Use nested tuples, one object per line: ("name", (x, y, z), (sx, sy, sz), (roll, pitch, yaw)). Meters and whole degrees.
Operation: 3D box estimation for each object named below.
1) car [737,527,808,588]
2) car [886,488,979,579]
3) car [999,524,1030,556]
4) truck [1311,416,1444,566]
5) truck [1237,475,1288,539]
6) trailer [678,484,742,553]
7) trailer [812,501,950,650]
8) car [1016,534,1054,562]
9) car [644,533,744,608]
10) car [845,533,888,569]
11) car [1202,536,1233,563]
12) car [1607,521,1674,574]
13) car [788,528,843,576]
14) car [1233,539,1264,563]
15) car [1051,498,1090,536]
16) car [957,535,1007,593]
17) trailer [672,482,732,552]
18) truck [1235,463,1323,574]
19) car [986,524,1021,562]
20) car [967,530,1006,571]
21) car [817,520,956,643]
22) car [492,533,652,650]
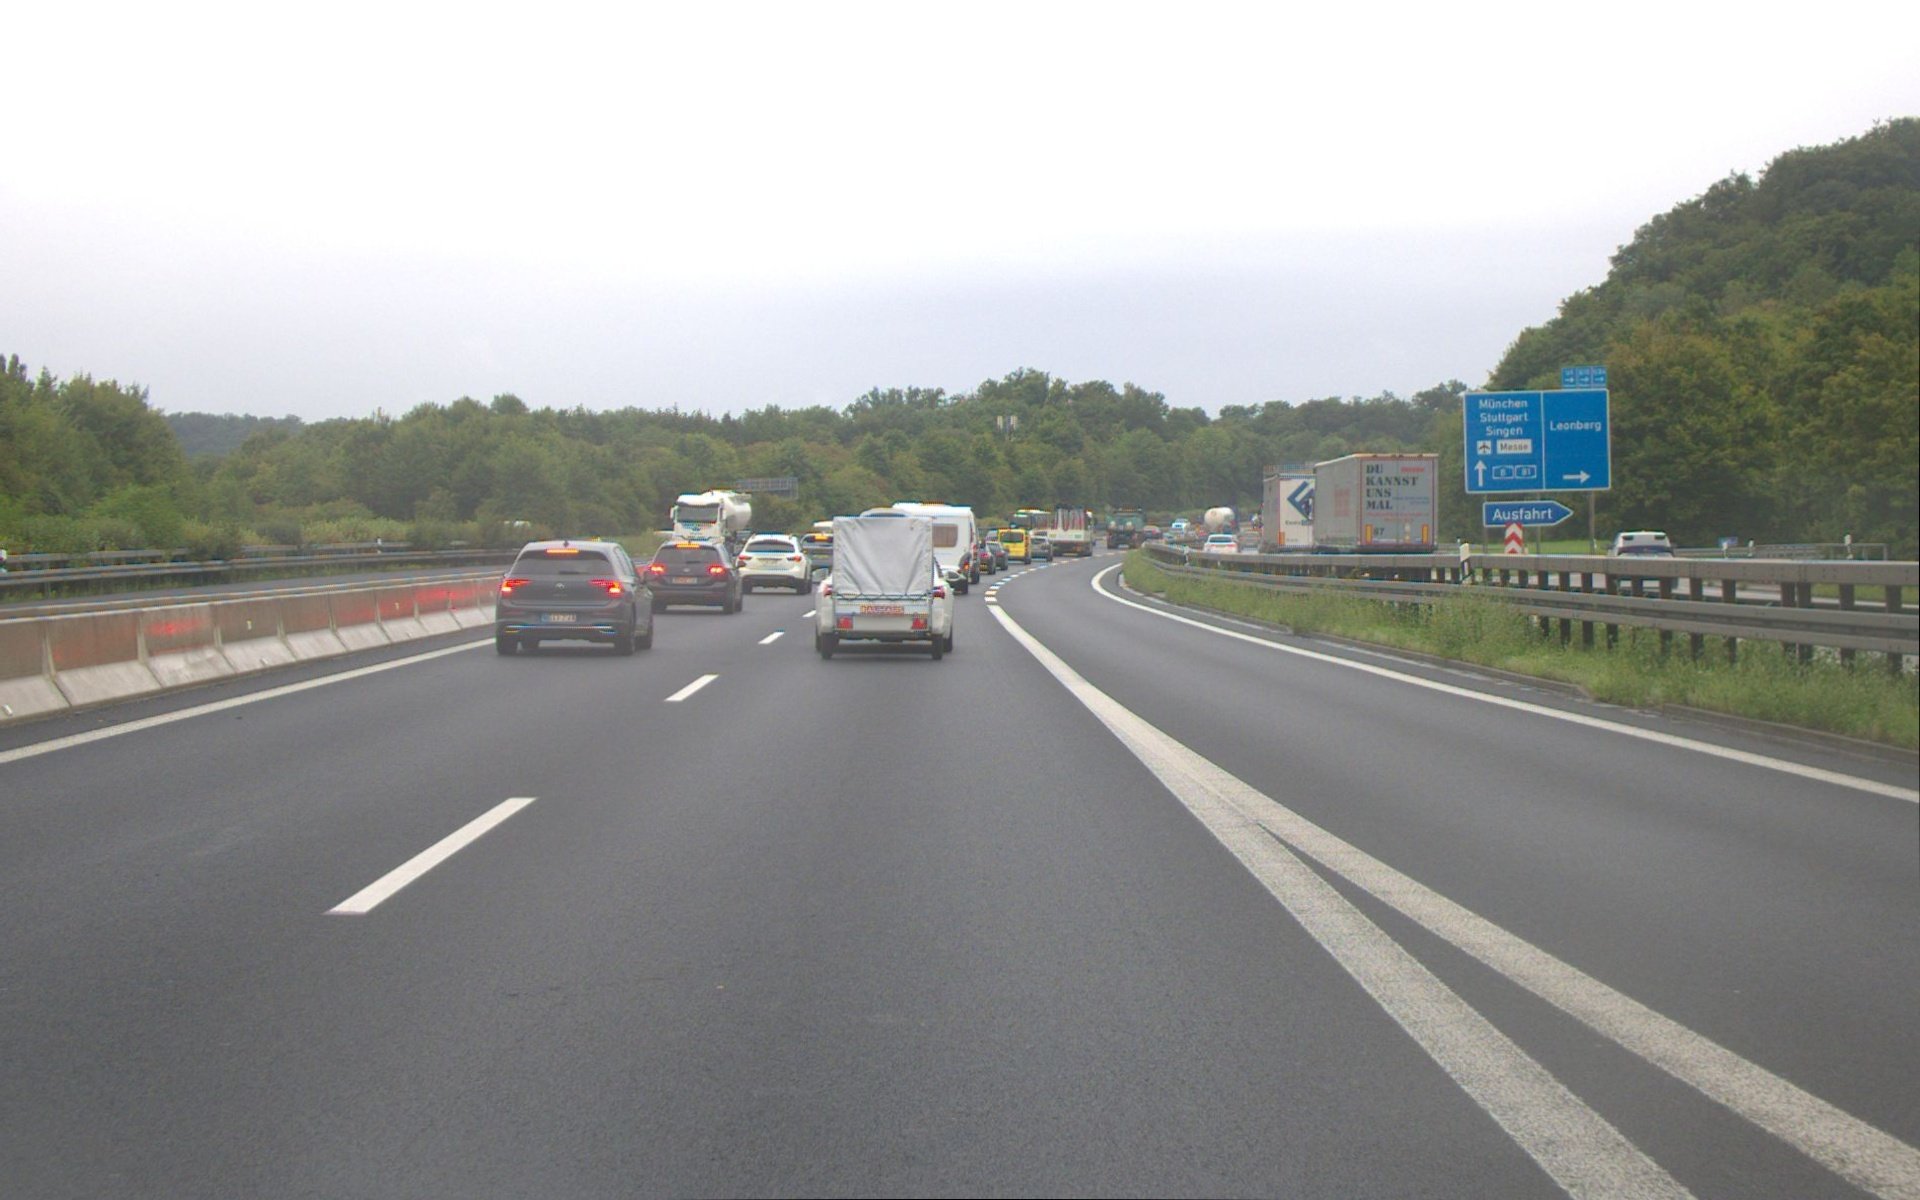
("car", (-5.154, -1.183, 94.816), (1.775, 1.634, 4.043), (0, 1, -1))
("car", (-0.777, -1.931, 101.056), (2.507, 2.576, 5.699), (1, 1, 2))
("car", (3.124, -3.450, 196.877), (1.676, 1.806, 4.000), (1, 1, 2))
("truck", (13.630, -3.471, 113.261), (3.216, 4.650, 13.032), (1, 1, 2))
("truck", (22.681, -6.921, 258.361), (3.663, 4.650, 13.031), (1, 1, 4))
("trailer", (-13.817, -4.460, 190.696), (2.636, 3.723, 10.811), (0, 1, 0))
("trailer", (-0.977, -0.327, 44.225), (1.676, 1.806, 4.000), (0, 1, 0))
("car", (4.647, -3.221, 212.226), (2.038, 1.677, 3.999), (1, 1, 5))
("car", (-5.356, -0.605, 69.645), (1.765, 1.451, 4.000), (0, 1, -1))
("car", (-4.298, -2.258, 158.686), (1.776, 1.634, 4.043), (1, 1, 2))
("car", (14.263, -2.777, 190.490), (1.676, 1.451, 4.000), (1, 1, 3))
("car", (19.270, -1.476, 97.406), (1.676, 1.451, 3.999), (1, 1, 9))
("car", (-4.967, -1.665, 118.872), (1.775, 1.634, 4.043), (0, 1, -1))
("car", (17.747, -3.029, 211.574), (1.676, 1.451, 4.000), (0, 1, 1))
("car", (7.739, -5.771, 239.930), (2.516, 2.566, 5.311), (1, 1, 4))
("car", (0.810, -1.307, 124.872), (1.676, 2.060, 4.000), (1, 1, 2))
("trailer", (-13.847, -4.436, 184.880), (2.636, 3.703, 6.492), (0, 1, 0))
("truck", (14.011, -3.541, 151.949), (3.216, 4.650, 13.032), (1, 1, 3))
("car", (2.157, -2.812, 169.841), (1.676, 1.806, 4.000), (1, 1, 2))
("car", (1.197, -2.193, 153.473), (1.676, 1.806, 4.000), (1, 1, 2))
("car", (-0.977, -0.280, 47.920), (1.818, 1.610, 4.778), (0, 1, 0))
("car", (-5.035, -0.136, 45.010), (1.675, 1.451, 4.000), (0, 1, -1))
